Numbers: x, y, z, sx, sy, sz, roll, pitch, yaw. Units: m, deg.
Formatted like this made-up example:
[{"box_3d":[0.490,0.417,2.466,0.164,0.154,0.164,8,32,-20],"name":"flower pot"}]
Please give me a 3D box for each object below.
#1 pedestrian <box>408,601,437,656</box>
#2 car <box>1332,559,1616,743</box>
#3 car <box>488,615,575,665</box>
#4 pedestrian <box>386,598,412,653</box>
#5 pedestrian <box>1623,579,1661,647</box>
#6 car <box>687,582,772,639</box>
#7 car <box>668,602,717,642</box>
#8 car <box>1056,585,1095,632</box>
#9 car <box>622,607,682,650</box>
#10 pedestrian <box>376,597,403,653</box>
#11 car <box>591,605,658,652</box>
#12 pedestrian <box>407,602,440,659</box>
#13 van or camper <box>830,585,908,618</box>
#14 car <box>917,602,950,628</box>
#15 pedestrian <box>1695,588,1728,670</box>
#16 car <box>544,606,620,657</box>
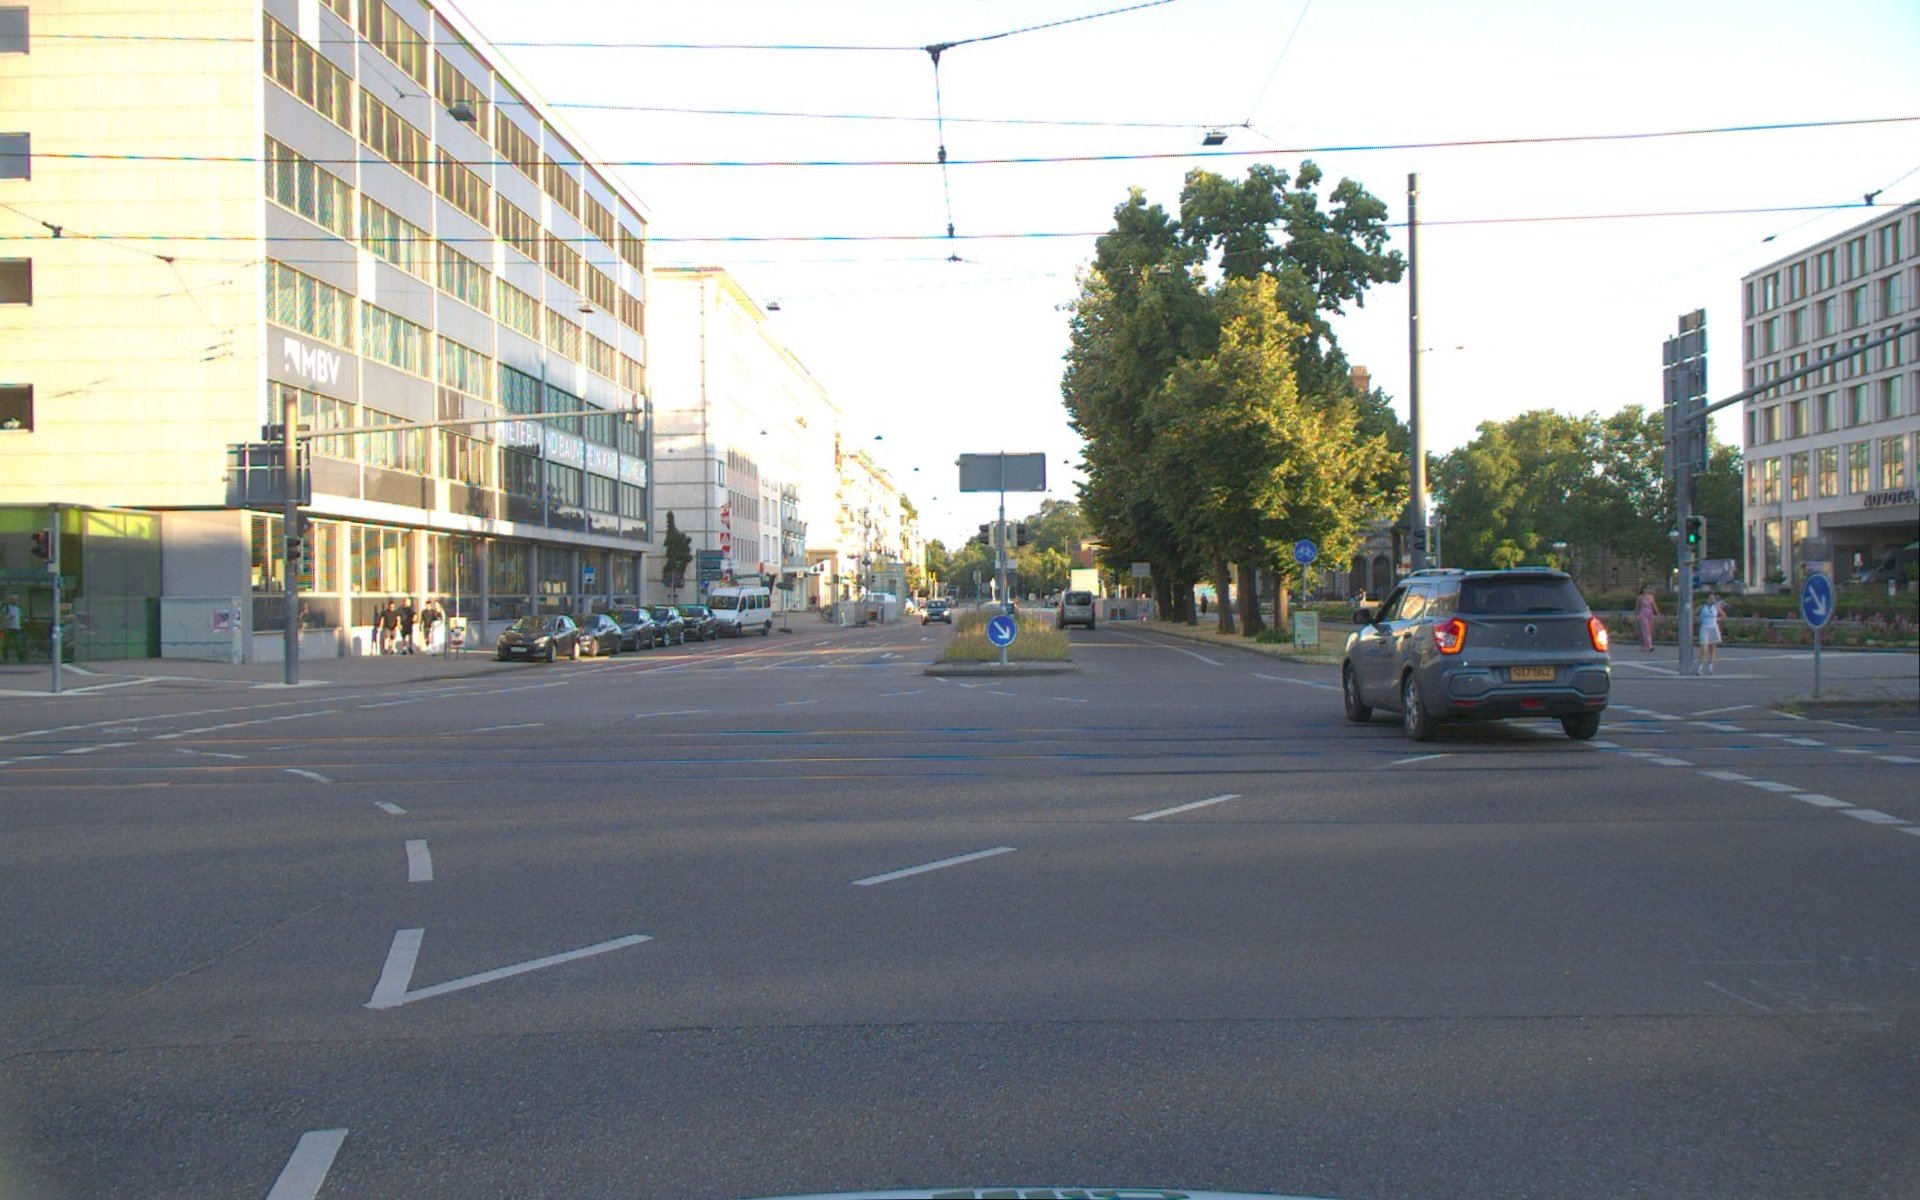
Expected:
[{"box_3d":[-17.777,0.927,54.677,0.724,1.799,0.672,-1,-1,-2],"name":"pedestrian"},{"box_3d":[5.104,0.463,16.989,1.658,1.633,4.090,-1,0,0],"name":"car"},{"box_3d":[-13.767,1.273,53.375,1.658,1.435,3.869,3,0,1],"name":"car"},{"box_3d":[-18.523,0.826,54.639,0.640,1.799,0.646,-1,0,-2],"name":"pedestrian"},{"box_3d":[16.815,0.324,40.797,0.711,1.654,0.736,-1,0,34],"name":"pedestrian"},{"box_3d":[-11.435,0.533,82.536,2.190,2.675,5.858,3,0,12],"name":"car"},{"box_3d":[-12.273,0.986,76.184,1.468,1.694,3.869,3,0,1],"name":"car"},{"box_3d":[5.698,0.404,82.021,1.844,2.277,3.912,-1,0,3],"name":"car"},{"box_3d":[-13.000,1.173,70.048,1.658,1.694,3.869,3,0,1],"name":"car"},{"box_3d":[-18.570,0.821,53.867,0.640,1.799,0.646,-1,0,-2],"name":"pedestrian"},{"box_3d":[-13.099,1.092,64.742,1.658,1.694,3.869,3,0,1],"name":"car"},{"box_3d":[-17.393,0.984,53.623,0.824,1.799,0.785,-1,0,-2],"name":"pedestrian"},{"box_3d":[-6.889,0.123,125.554,5.447,2.204,2.223,-3,0,-29],"name":"van or camper"},{"box_3d":[-1.557,0.867,99.224,1.657,1.445,4.175,-1,0,3],"name":"car"},{"box_3d":[15.404,0.586,33.920,0.524,1.654,0.628,-1,0,19],"name":"pedestrian"},{"box_3d":[-13.484,1.104,59.221,1.658,1.694,3.869,3,0,1],"name":"car"}]
